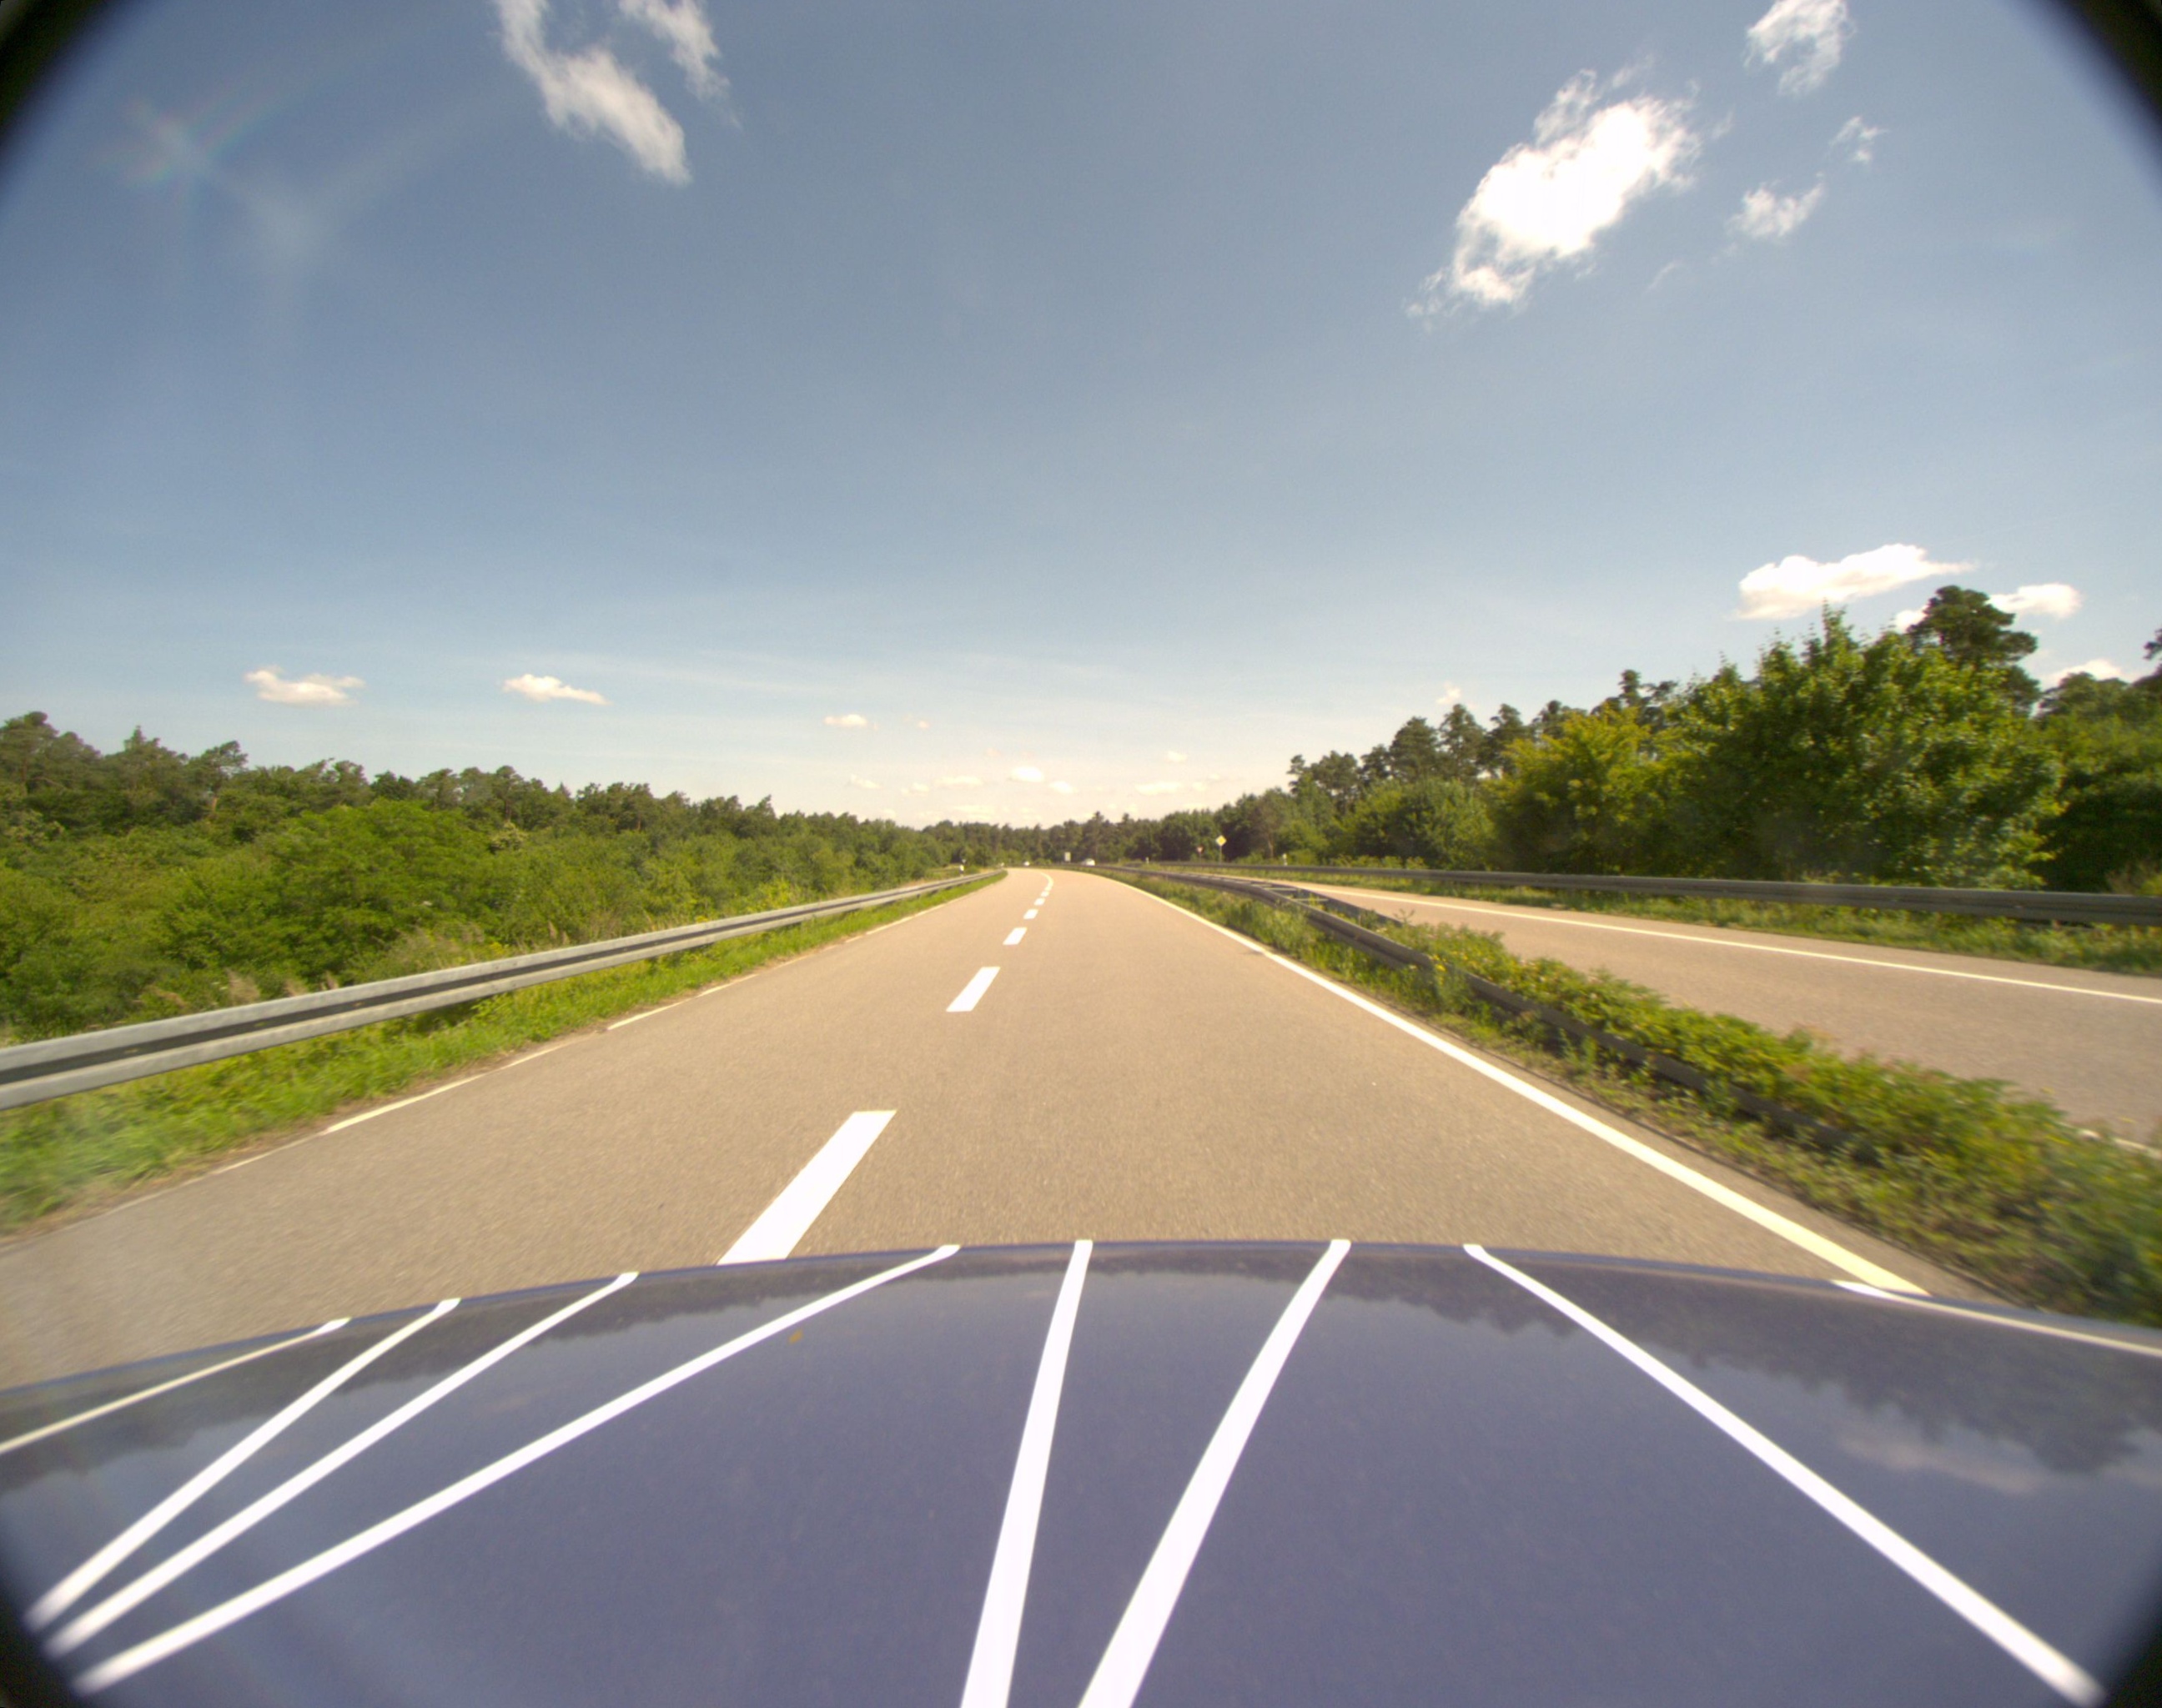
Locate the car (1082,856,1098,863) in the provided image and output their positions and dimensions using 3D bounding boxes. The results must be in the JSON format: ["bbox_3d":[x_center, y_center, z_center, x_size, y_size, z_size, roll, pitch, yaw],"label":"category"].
[{"bbox_3d":[1.788,1.110,152.703,1.954,1.405,4.828,-1,0,-12],"label":"car"}]

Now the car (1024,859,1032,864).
[{"bbox_3d":[-15.461,2.231,222.135,1.684,1.419,4.207,-2,0,-12],"label":"car"}]
